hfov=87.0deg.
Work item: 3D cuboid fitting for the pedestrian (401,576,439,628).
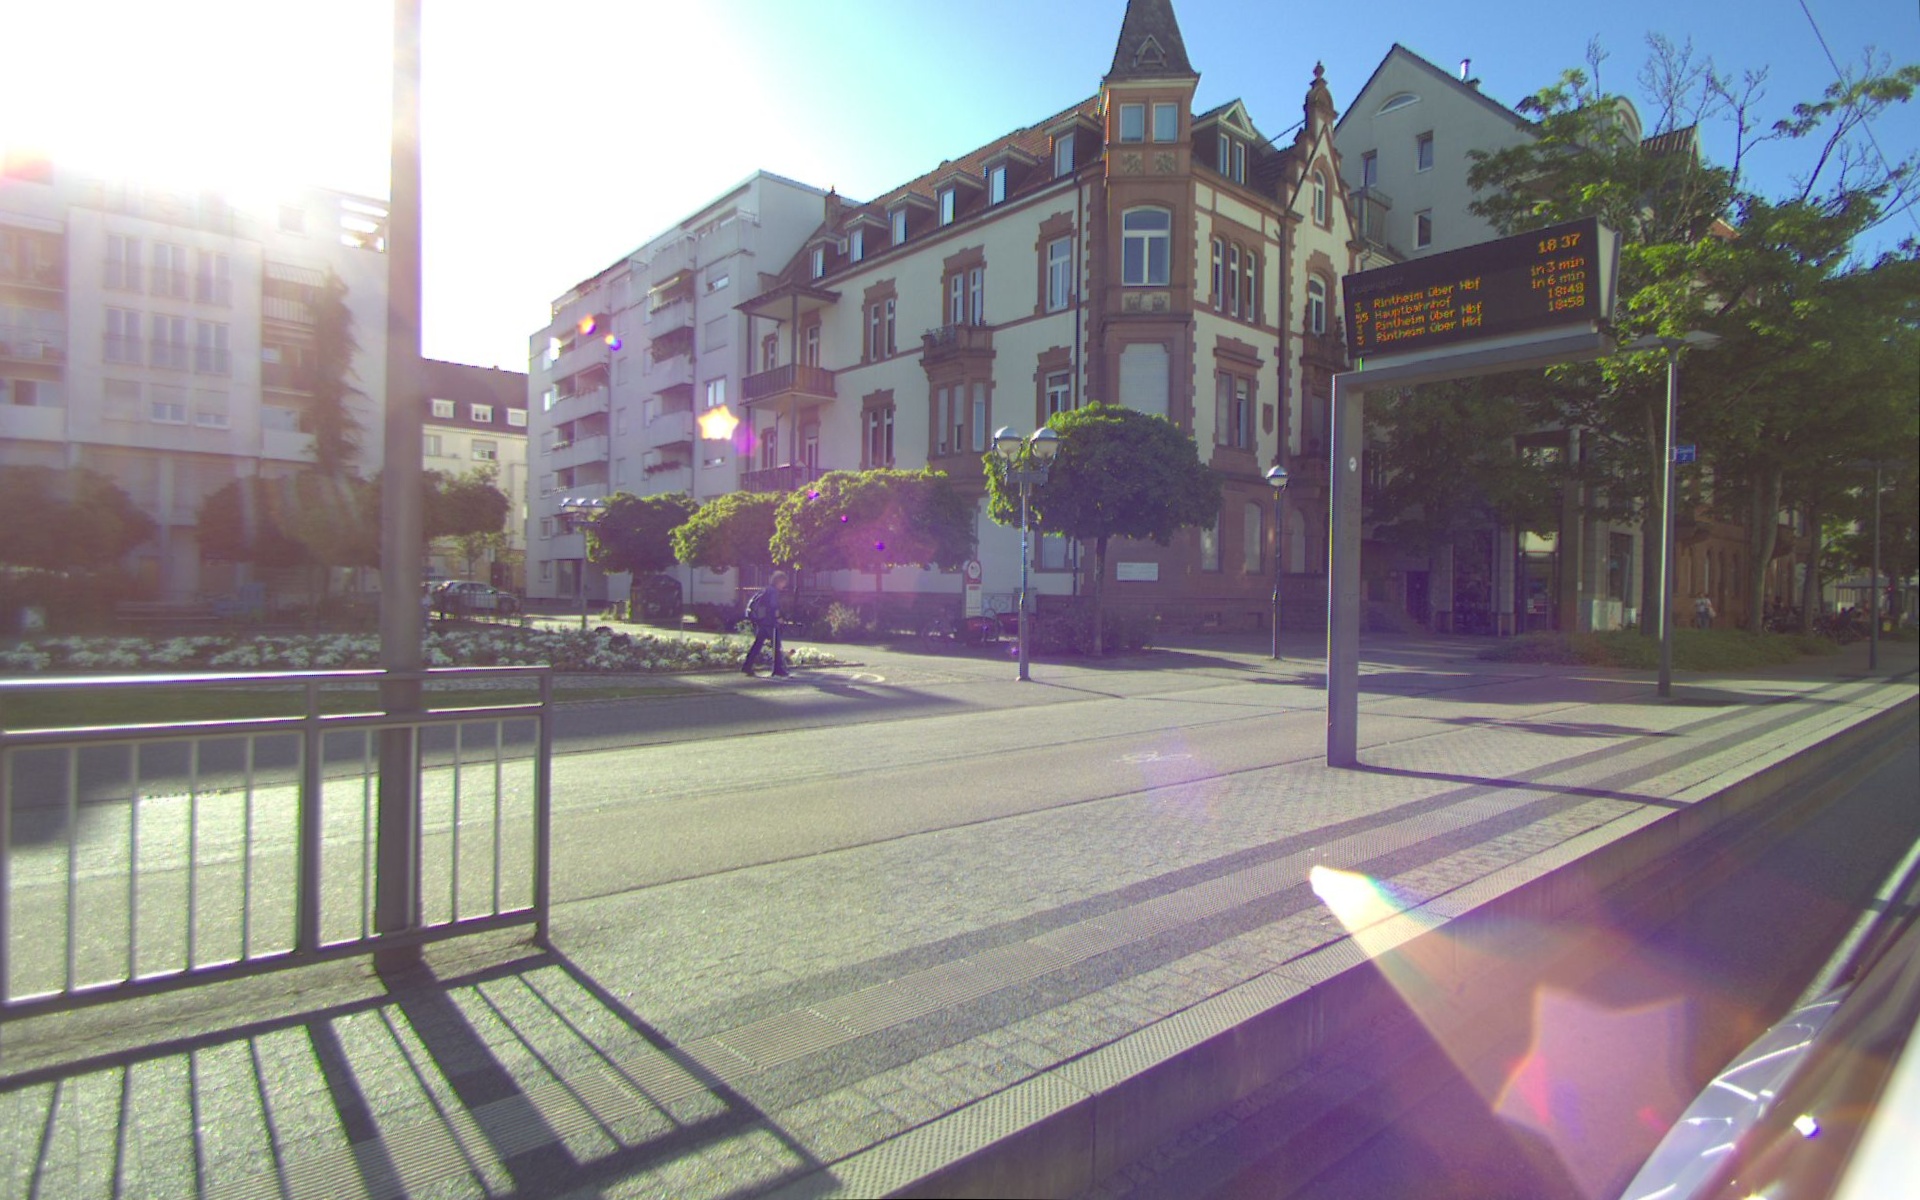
[{"bbox_3d":[-15.375,0.043,28.799,0.917,1.429,1.529,0,0,-30],"label":"pedestrian"}]

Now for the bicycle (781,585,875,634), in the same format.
[{"bbox_3d":[-3.923,0.265,30.286,2.864,1.389,0.745,0,0,-41],"label":"bicycle"}]

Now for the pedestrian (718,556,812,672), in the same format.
[{"bbox_3d":[-2.968,0.189,15.431,1.064,1.689,0.944,1,0,37],"label":"pedestrian"}]

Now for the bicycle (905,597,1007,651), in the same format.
[{"bbox_3d":[-0.047,0.522,23.512,0.786,1.081,2.767,1,2,40],"label":"bicycle"}]

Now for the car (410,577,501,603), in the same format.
[{"bbox_3d":[-25.848,-0.511,51.865,3.923,1.304,2.001,0,1,-34],"label":"car"}]

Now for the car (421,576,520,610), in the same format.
[{"bbox_3d":[-22.914,-0.343,47.379,3.923,1.536,2.001,0,1,-34],"label":"car"}]

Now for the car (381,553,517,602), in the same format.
[{"bbox_3d":[-28.651,-1.205,56.918,6.292,2.587,2.807,0,1,-44],"label":"car"}]

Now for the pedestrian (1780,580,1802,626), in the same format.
[{"bbox_3d":[37.431,0.137,45.589,0.549,2.039,0.654,0,0,-38],"label":"pedestrian"}]

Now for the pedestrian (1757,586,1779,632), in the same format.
[{"bbox_3d":[36.893,0.404,46.224,0.549,2.039,0.654,0,0,-38],"label":"pedestrian"}]

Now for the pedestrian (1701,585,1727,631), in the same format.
[{"bbox_3d":[29.478,0.294,39.574,0.740,1.757,0.864,1,0,43],"label":"pedestrian"}]
